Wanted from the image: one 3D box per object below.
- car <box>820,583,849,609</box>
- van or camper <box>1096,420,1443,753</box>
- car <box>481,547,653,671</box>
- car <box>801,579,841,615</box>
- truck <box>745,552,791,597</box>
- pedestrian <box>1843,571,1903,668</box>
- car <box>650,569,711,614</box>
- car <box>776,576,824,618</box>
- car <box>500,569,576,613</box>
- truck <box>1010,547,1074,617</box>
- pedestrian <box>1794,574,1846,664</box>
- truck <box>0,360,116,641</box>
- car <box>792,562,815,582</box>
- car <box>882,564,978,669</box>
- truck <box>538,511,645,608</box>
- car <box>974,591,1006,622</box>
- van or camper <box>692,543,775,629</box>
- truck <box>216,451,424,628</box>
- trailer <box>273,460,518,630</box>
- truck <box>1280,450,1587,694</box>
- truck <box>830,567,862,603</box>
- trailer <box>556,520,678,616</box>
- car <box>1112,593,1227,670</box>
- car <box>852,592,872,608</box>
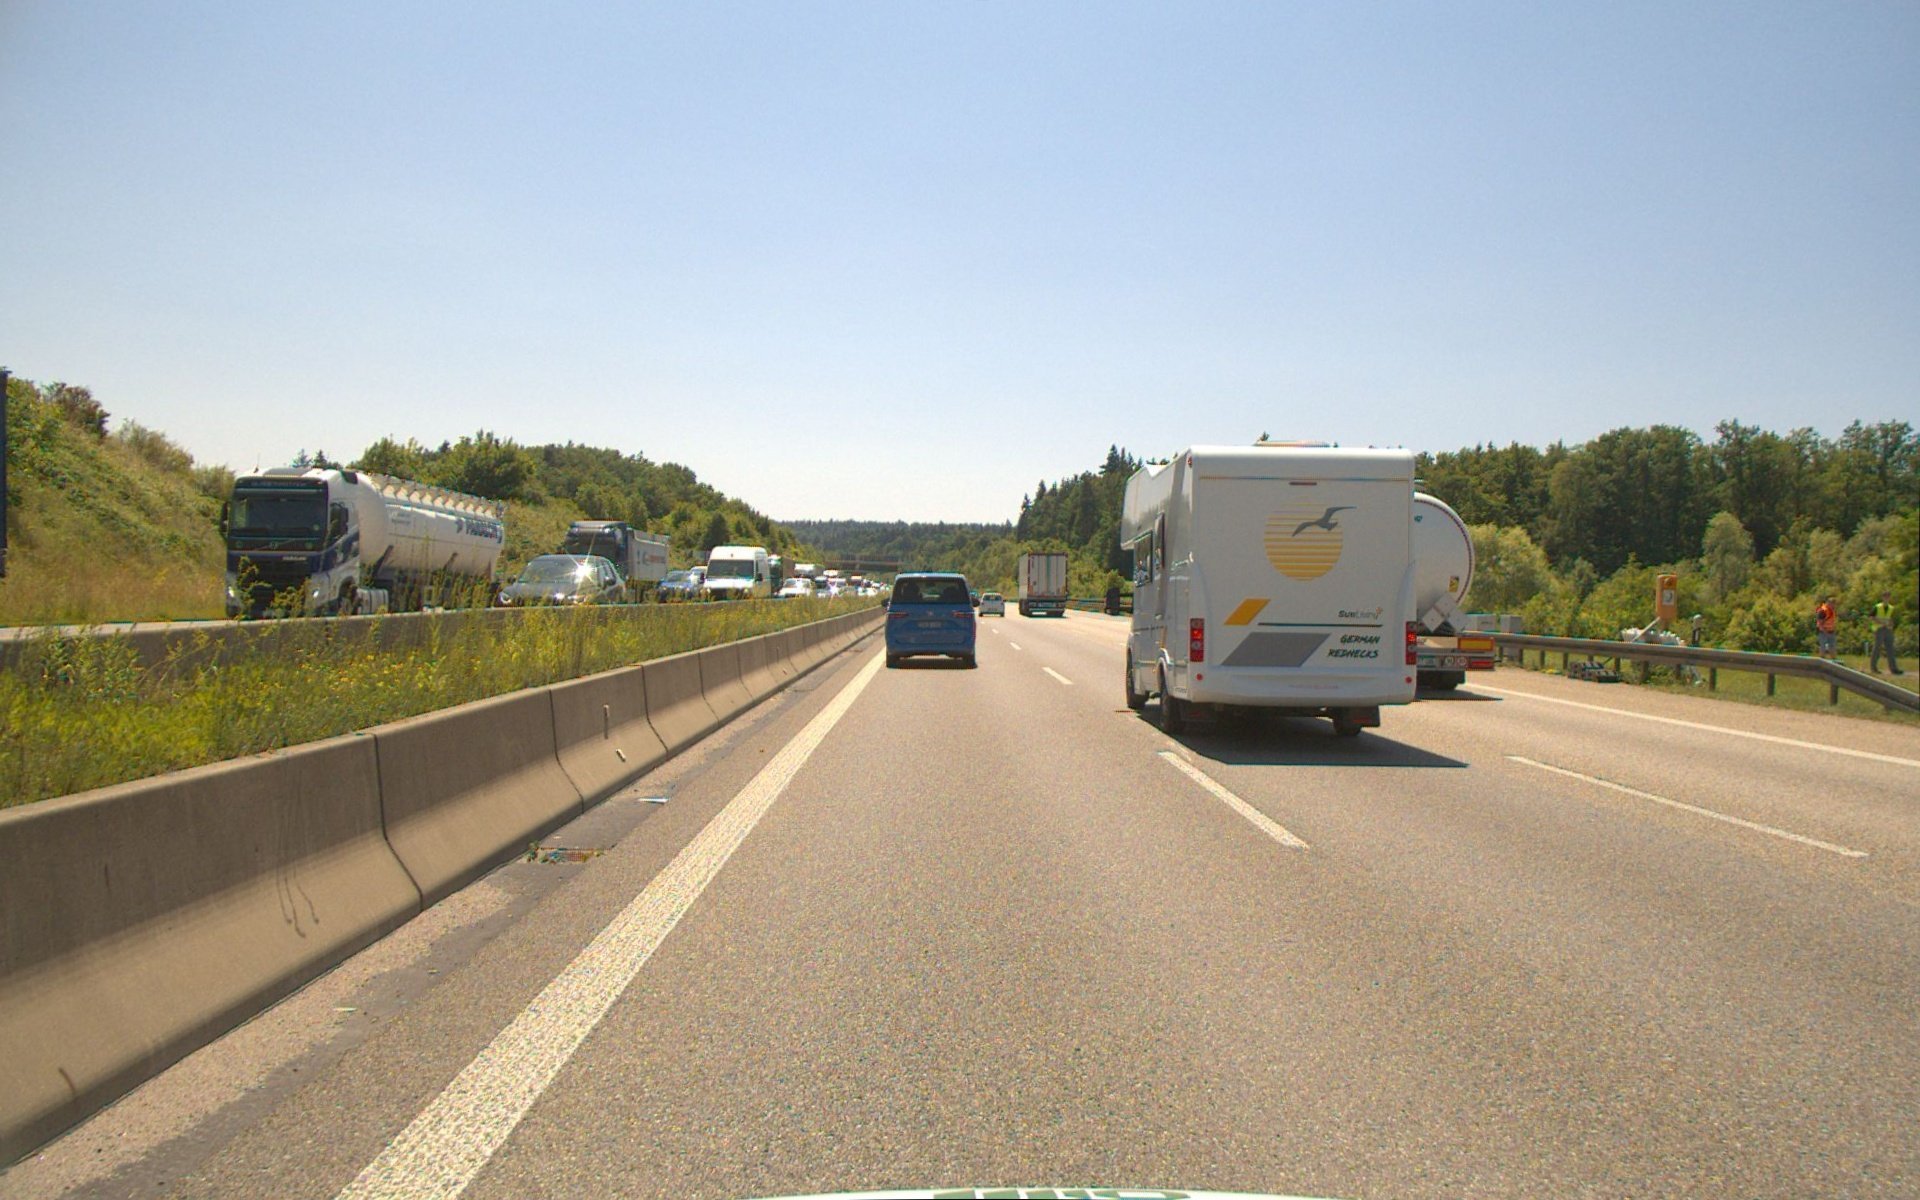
[{"bbox_3d":[-9.297,-0.300,122.858,1.752,1.783,3.999,4,0,0],"label":"car"},{"bbox_3d":[3.282,-0.179,19.545,2.550,3.132,7.181,2,1,-1],"label":"van or camper"},{"bbox_3d":[-7.529,0.160,32.251,2.043,2.099,5.058,4,0,0],"label":"car"},{"bbox_3d":[-8.717,-0.168,104.005,1.953,2.048,5.163,4,0,0],"label":"car"},{"bbox_3d":[-17.693,-2.279,153.220,2.932,3.869,12.159,4,0,-2],"label":"truck"},{"bbox_3d":[20.664,0.432,37.430,0.912,2.116,0.685,4,0,-23],"label":"pedestrian"},{"bbox_3d":[-12.157,-0.348,72.239,1.760,1.866,5.744,0,0,-1],"label":"car"},{"bbox_3d":[-8.529,-0.160,88.576,1.953,2.048,5.163,4,0,0],"label":"car"},{"bbox_3d":[-15.815,-0.328,62.181,1.760,1.565,4.583,0,0,-1],"label":"car"},{"bbox_3d":[5.346,-1.143,109.281,3.417,4.242,8.640,4,0,-1],"label":"truck"},{"bbox_3d":[21.067,0.462,40.517,0.674,2.116,0.928,4,0,-1],"label":"pedestrian"},{"bbox_3d":[-15.944,-1.458,20.403,3.505,4.164,15.004,1,1,-1],"label":"truck"},{"bbox_3d":[-17.900,-3.221,189.427,2.043,2.099,5.058,4,0,0],"label":"car"},{"bbox_3d":[-0.624,0.326,35.162,1.870,2.049,3.999,1,0,-1],"label":"car"},{"bbox_3d":[-16.146,-1.703,72.874,3.385,3.944,5.443,3,0,-1],"label":"truck"},{"bbox_3d":[1.896,0.422,106.126,1.781,1.825,3.893,4,0,-1],"label":"car"},{"bbox_3d":[-8.498,-0.492,62.758,1.953,2.927,7.640,4,0,0],"label":"van or camper"},{"bbox_3d":[-15.513,-1.376,40.593,2.638,3.946,6.315,1,0,-1],"label":"truck"},{"bbox_3d":[-15.714,-1.360,47.505,2.626,4.018,13.240,4,0,-2],"label":"trailer"},{"bbox_3d":[8.079,-0.509,29.577,2.868,3.637,8.526,2,1,-1],"label":"truck"},{"bbox_3d":[-13.025,-1.663,189.140,2.932,3.869,12.159,4,0,-2],"label":"truck"},{"bbox_3d":[-16.282,-1.487,79.593,3.506,4.164,11.536,1,1,-1],"label":"trailer"},{"bbox_3d":[4.383,0.632,35.149,1.870,1.500,3.999,2,0,-1],"label":"car"},{"bbox_3d":[-10.001,0.004,169.836,1.752,1.573,3.999,4,0,0],"label":"car"}]
